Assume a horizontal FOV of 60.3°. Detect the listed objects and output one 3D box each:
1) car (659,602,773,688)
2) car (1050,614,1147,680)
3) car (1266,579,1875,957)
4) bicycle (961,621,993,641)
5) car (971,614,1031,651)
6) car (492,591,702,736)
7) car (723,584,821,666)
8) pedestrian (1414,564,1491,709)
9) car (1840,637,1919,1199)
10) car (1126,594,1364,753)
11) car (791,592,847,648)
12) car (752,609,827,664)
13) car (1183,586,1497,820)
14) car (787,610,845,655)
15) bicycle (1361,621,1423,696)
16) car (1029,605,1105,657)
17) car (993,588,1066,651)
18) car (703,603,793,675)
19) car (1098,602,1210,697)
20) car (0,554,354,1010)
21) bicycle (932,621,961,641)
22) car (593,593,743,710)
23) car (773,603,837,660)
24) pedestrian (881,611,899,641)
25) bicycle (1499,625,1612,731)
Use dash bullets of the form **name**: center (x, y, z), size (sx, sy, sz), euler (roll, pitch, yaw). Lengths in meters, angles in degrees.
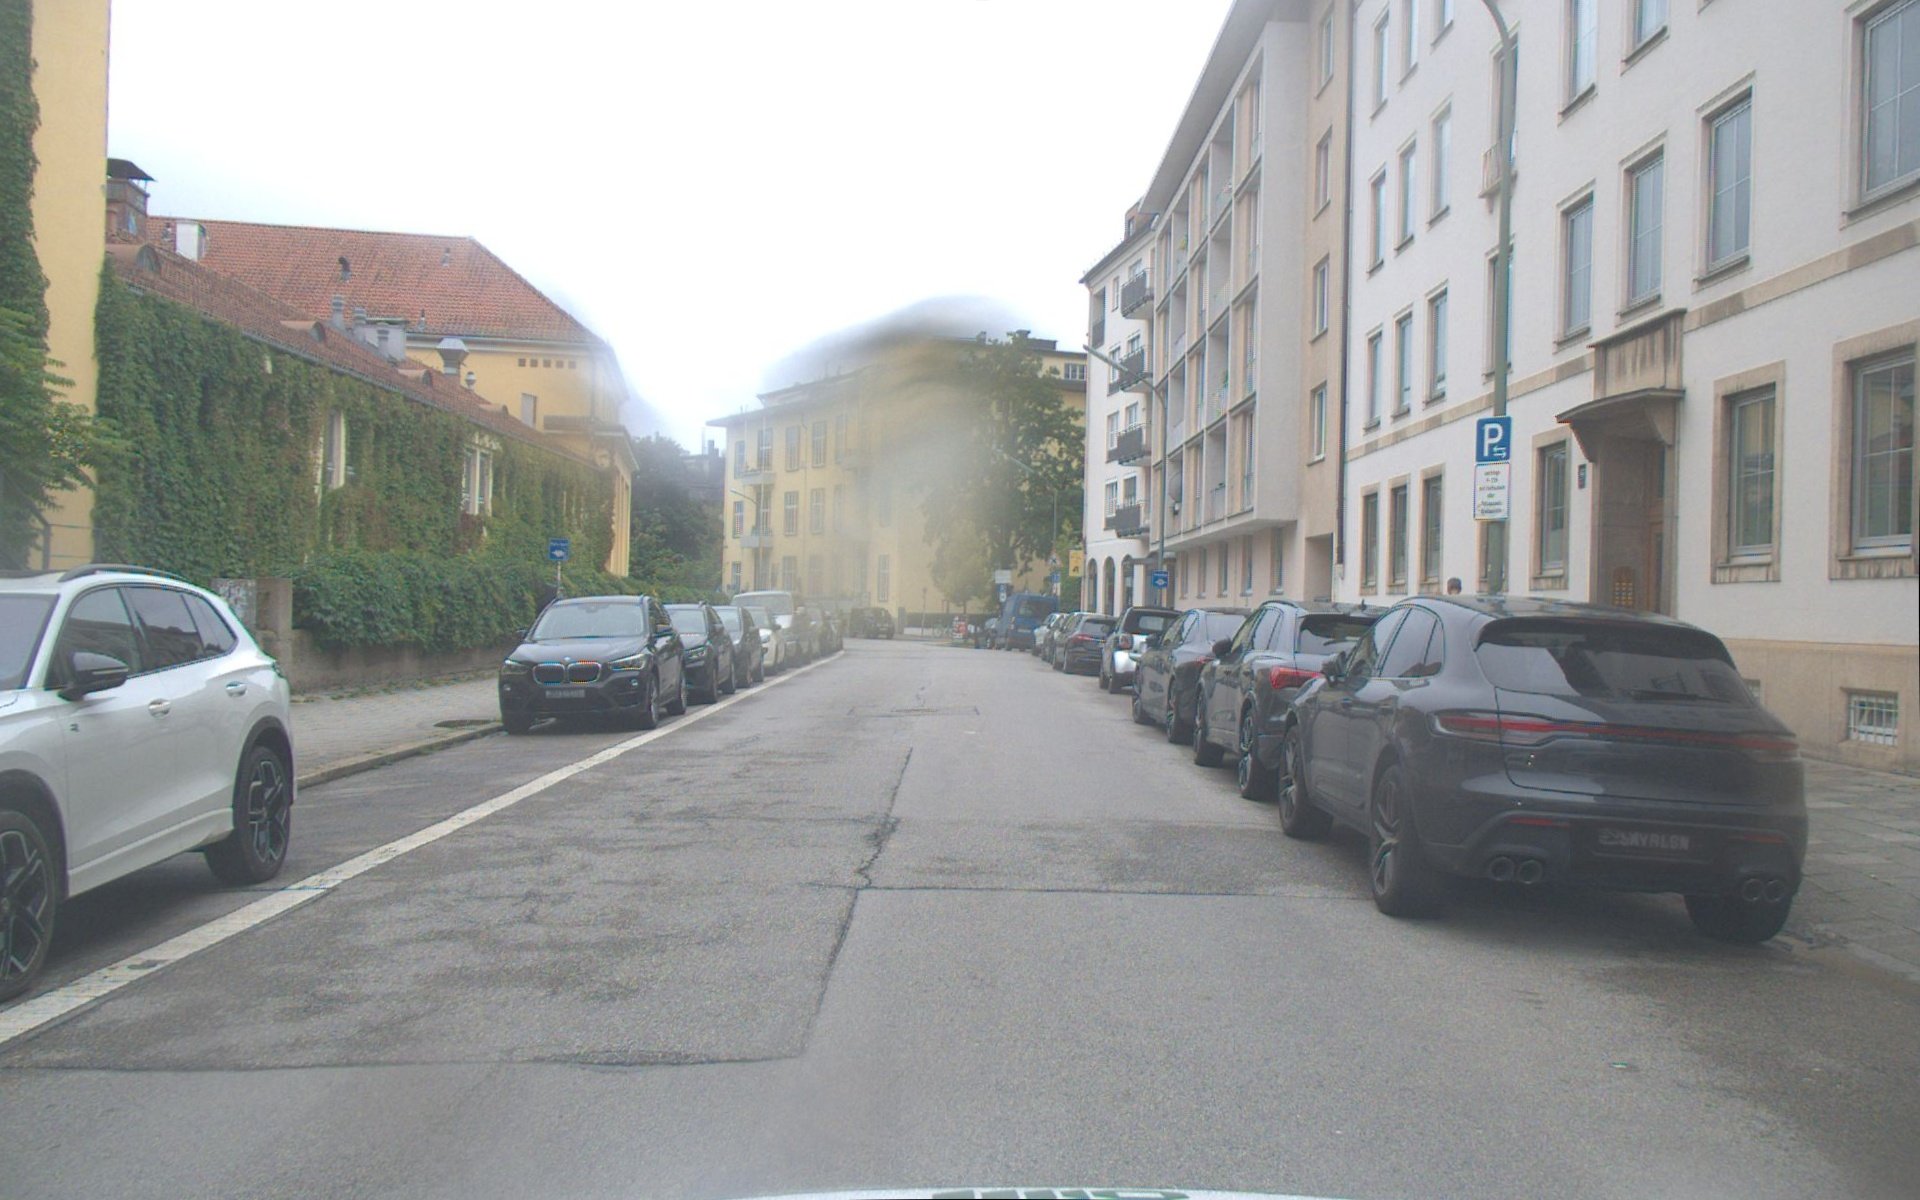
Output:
- **car**: center (-4.528, 0.805, 31.143), size (1.571, 1.455, 4.250), euler (-2, -1, -1)
- **car**: center (3.354, 1.108, 40.896), size (1.710, 1.412, 4.951), euler (4, -1, -2)
- **car**: center (3.097, 0.752, 9.559), size (1.802, 1.548, 4.709), euler (3, -1, 1)
- **bicycle**: center (1.069, 1.956, 104.155), size (1.881, 1.222, 0.596), euler (2, -1, 13)
- **car**: center (1.800, 1.435, 74.018), size (1.648, 1.413, 4.292), euler (6, -2, -12)
- **car**: center (-4.500, 0.738, 21.213), size (1.753, 1.614, 4.816), euler (-1, 0, -2)
- **car**: center (-4.683, 0.624, 41.854), size (1.848, 1.923, 4.774), euler (-1, -1, 1)
- **pedestrian**: center (6.324, 0.477, 21.276), size (0.708, 1.794, 0.904), euler (2, -3, 1)
- **car**: center (3.301, 0.856, 2.361), size (1.638, 1.454, 4.530), euler (3, -1, 0)
- **car**: center (3.218, 0.781, 19.798), size (1.766, 1.510, 5.318), euler (4, 0, -1)
- **car**: center (-5.370, 0.770, 62.704), size (2.033, 1.998, 5.343), euler (-1, -1, -6)
- **car**: center (-4.830, 1.015, 47.392), size (1.619, 1.439, 4.770), euler (-2, -1, 0)
- **car**: center (3.136, 0.782, 14.596), size (1.612, 1.617, 4.634), euler (4, -1, 0)
- **car**: center (-4.954, 1.096, 57.456), size (1.660, 1.417, 4.499), euler (-3, 0, -2)
- **bicycle**: center (7.525, 0.997, 28.876), size (0.519, 1.239, 2.103), euler (2, -1, 1)
- **car**: center (3.593, 1.020, 56.207), size (1.751, 1.560, 4.642), euler (5, -1, -6)
- **car**: center (2.800, 0.850, 67.891), size (2.040, 2.272, 5.236), euler (6, -3, -6)
- **car**: center (-4.606, 0.825, 36.396), size (1.559, 1.466, 4.017), euler (-1, -1, -2)
- **car**: center (3.481, 0.866, 30.104), size (1.616, 1.521, 2.881), euler (4, -1, 0)
- **car**: center (-4.430, 0.671, 7.589), size (1.711, 1.662, 4.853), euler (0, 0, -3)
- **bicycle**: center (-0.863, 1.971, 105.339), size (1.890, 1.222, 0.593), euler (2, -1, 37)
- **car**: center (-4.505, 0.754, 26.070), size (1.689, 1.658, 4.464), euler (-1, -1, -2)
- **car**: center (-4.832, 0.972, 52.152), size (1.663, 1.672, 4.488), euler (-1, -1, -1)
- **pedestrian**: center (-4.444, 1.637, 104.564), size (0.862, 1.855, 0.793), euler (2, -1, -21)
- **bicycle**: center (7.548, 0.962, 21.053), size (0.503, 1.243, 1.986), euler (1, 0, -7)
